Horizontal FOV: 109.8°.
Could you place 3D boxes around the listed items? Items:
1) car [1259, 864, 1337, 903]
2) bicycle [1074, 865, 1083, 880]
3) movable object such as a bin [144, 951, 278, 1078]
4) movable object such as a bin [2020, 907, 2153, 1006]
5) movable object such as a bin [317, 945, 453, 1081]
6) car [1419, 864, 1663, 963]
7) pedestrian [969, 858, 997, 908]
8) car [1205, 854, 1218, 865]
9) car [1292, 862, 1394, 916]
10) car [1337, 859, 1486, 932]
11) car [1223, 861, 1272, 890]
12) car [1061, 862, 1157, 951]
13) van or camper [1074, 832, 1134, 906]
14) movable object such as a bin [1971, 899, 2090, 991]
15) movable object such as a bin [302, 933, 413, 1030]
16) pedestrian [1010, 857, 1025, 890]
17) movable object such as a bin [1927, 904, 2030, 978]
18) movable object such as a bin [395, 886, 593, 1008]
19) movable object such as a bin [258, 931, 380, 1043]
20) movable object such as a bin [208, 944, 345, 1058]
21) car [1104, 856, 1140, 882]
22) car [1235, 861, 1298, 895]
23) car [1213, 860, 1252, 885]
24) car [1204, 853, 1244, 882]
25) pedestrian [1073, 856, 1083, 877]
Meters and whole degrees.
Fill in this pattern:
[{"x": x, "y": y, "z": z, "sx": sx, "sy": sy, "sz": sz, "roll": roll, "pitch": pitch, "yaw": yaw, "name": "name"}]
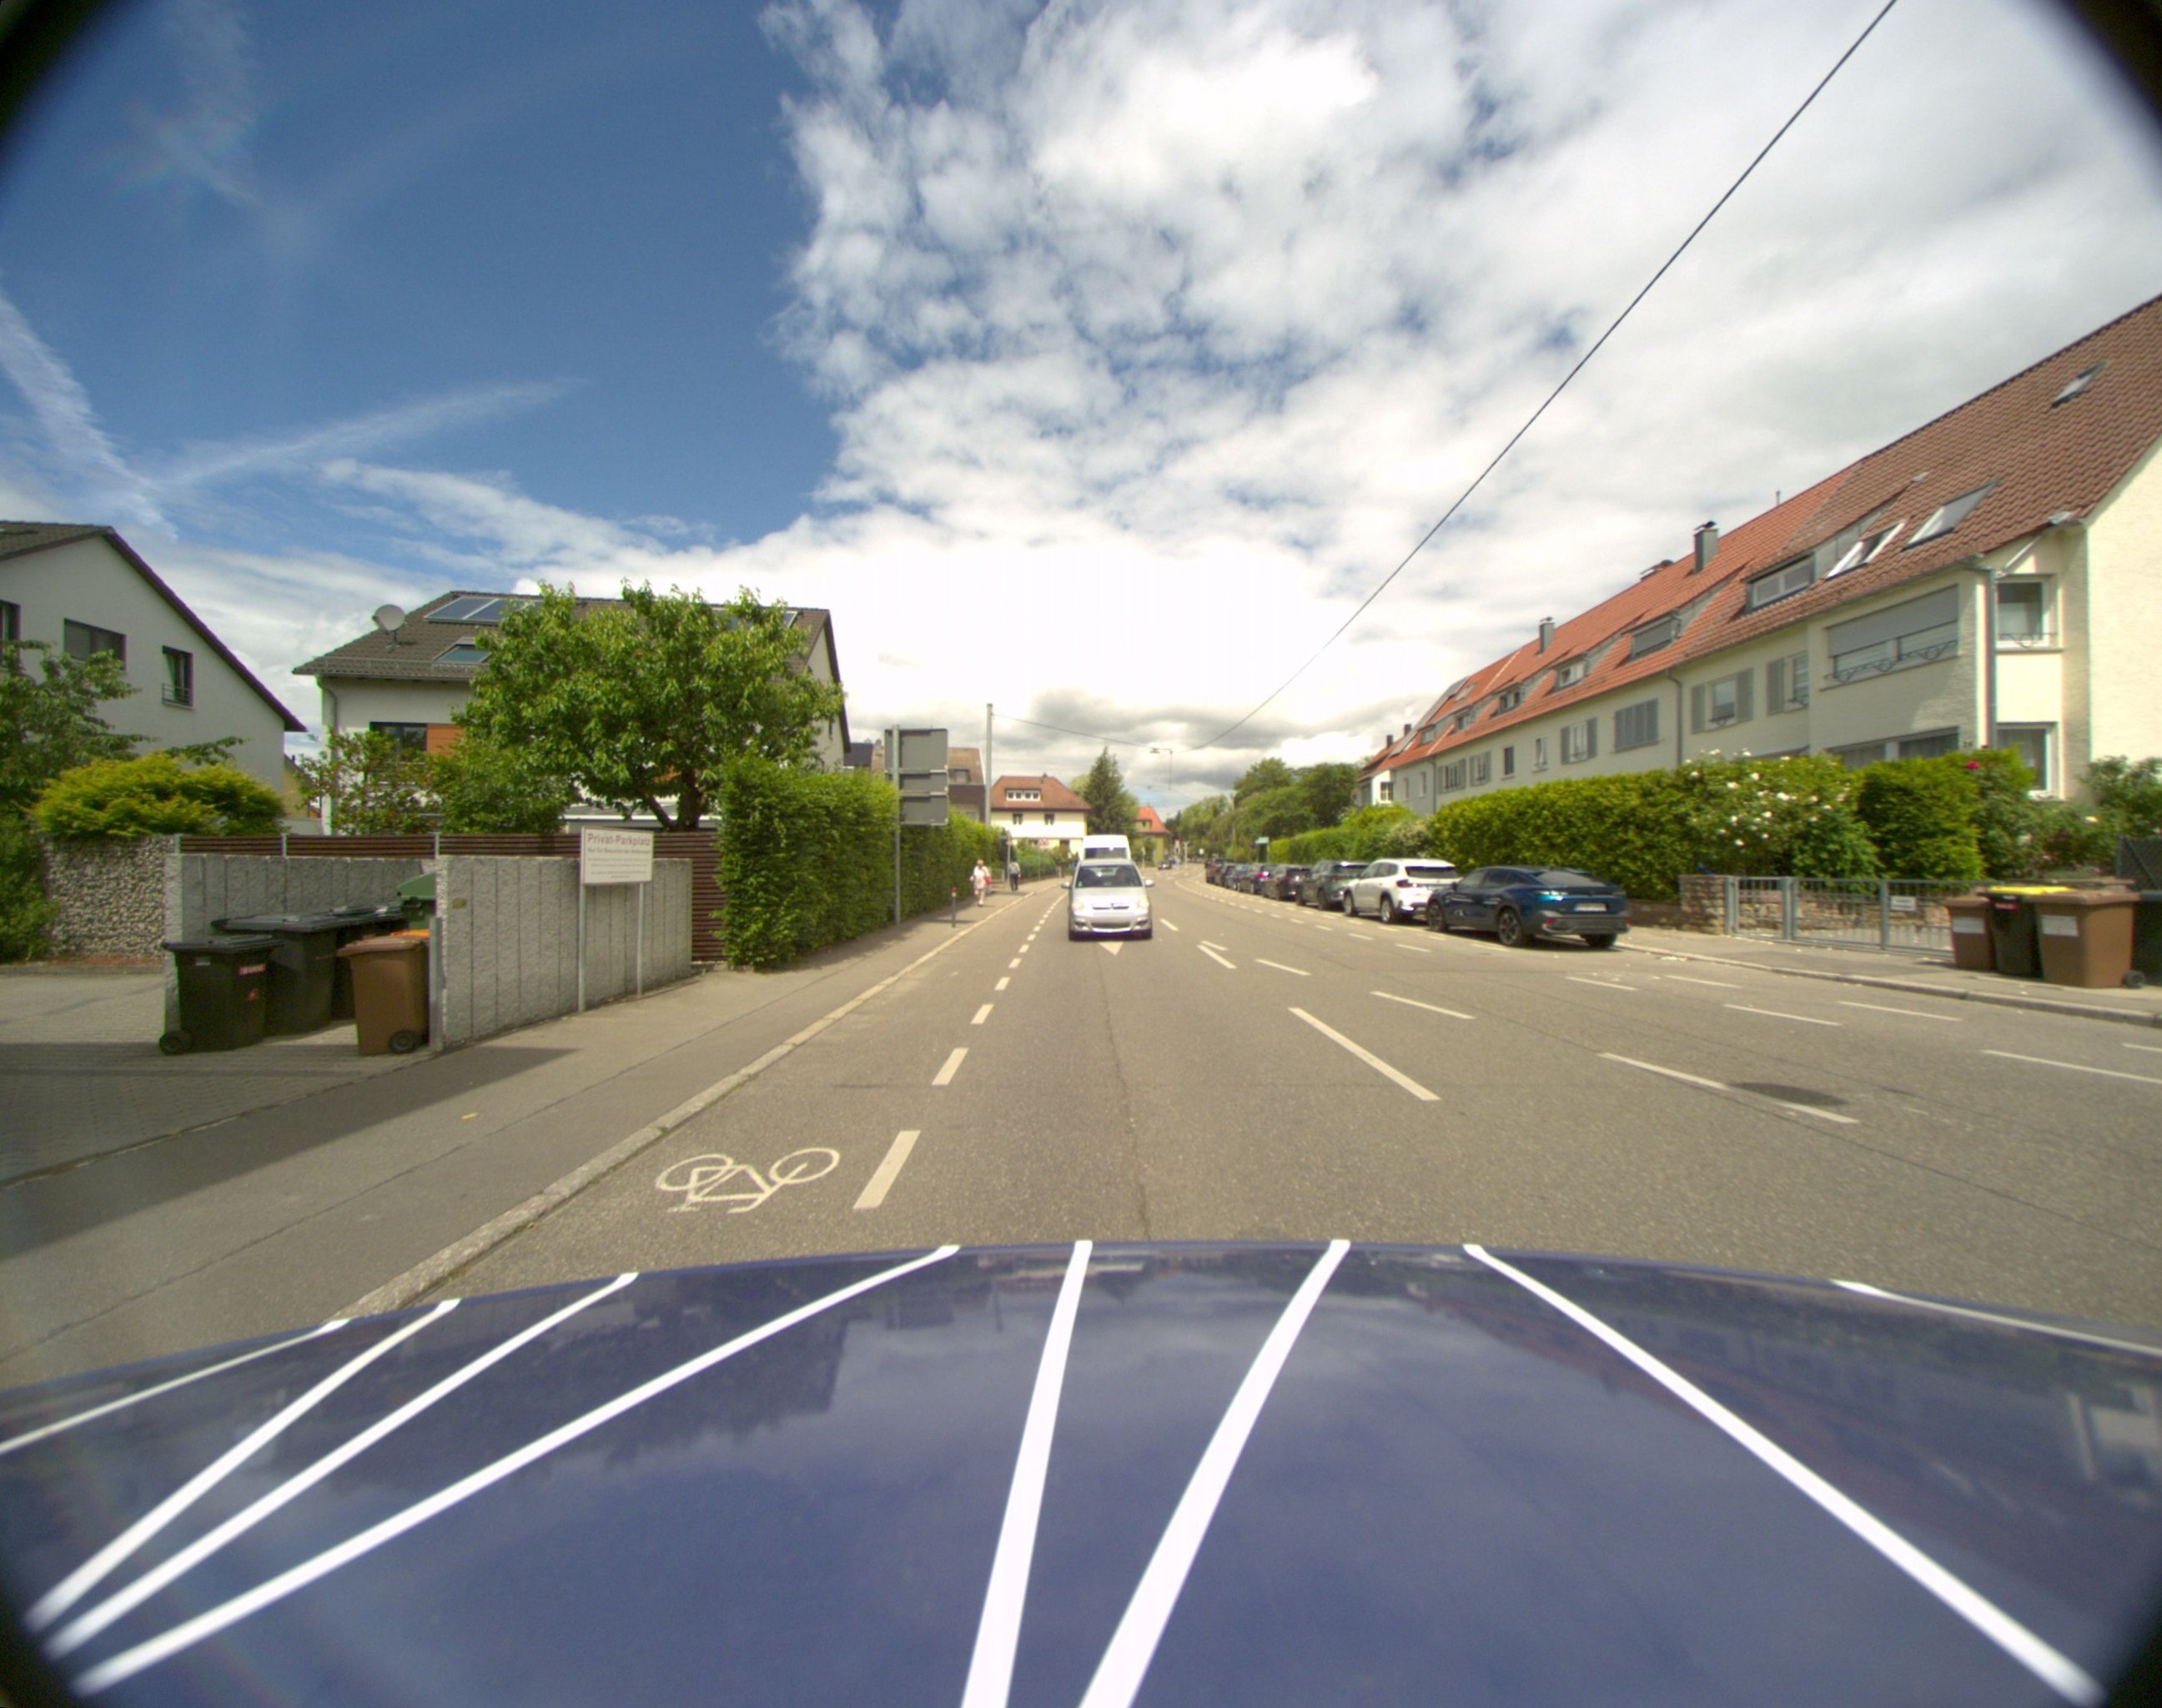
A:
[{"x": 8.625, "y": 1.121, "z": 30.624, "sx": 1.998, "sy": 1.400, "sz": 4.690, "roll": 0, "pitch": 0, "yaw": 3, "name": "car"}, {"x": -0.167, "y": 1.374, "z": 56.878, "sx": 0.536, "sy": 1.039, "sz": 2.409, "roll": -1, "pitch": 0, "yaw": 2, "name": "bicycle"}, {"x": -7.123, "y": 1.291, "z": 6.245, "sx": 0.494, "sy": 0.907, "sz": 0.539, "roll": -1, "pitch": 0, "yaw": -16, "name": "movable object such as a bin"}, {"x": 11.093, "y": 1.111, "z": 8.406, "sx": 0.597, "sy": 1.001, "sz": 0.658, "roll": 0, "pitch": 0, "yaw": 1, "name": "movable object such as a bin"}, {"x": -5.647, "y": 1.263, "z": 6.204, "sx": 0.534, "sy": 0.945, "sz": 0.686, "roll": -1, "pitch": 0, "yaw": -13, "name": "movable object such as a bin"}, {"x": 8.624, "y": 1.012, "z": 14.832, "sx": 1.999, "sy": 1.578, "sz": 4.488, "roll": 0, "pitch": 0, "yaw": -1, "name": "car"}, {"x": -3.258, "y": 0.960, "z": 25.352, "sx": 0.800, "sy": 1.608, "sz": 0.653, "roll": 1, "pitch": 0, "yaw": 2, "name": "pedestrian"}, {"x": 21.936, "y": 0.897, "z": 127.818, "sx": 1.919, "sy": 1.639, "sz": 4.297, "roll": 3, "pitch": 1, "yaw": 11, "name": "car"}, {"x": 8.574, "y": 1.086, "z": 25.342, "sx": 1.998, "sy": 1.555, "sz": 4.690, "roll": 0, "pitch": 0, "yaw": 3, "name": "car"}, {"x": 8.439, "y": 0.983, "z": 19.929, "sx": 1.998, "sy": 1.641, "sz": 4.517, "roll": 0, "pitch": 0, "yaw": 1, "name": "car"}, {"x": 9.009, "y": 1.131, "z": 41.474, "sx": 1.782, "sy": 1.409, "sz": 4.440, "roll": 0, "pitch": 0, "yaw": 1, "name": "car"}, {"x": 0.666, "y": 0.986, "z": 15.950, "sx": 1.707, "sy": 1.531, "sz": 4.332, "roll": -2, "pitch": 0, "yaw": 4, "name": "car"}, {"x": 1.024, "y": 0.595, "z": 30.109, "sx": 2.029, "sy": 2.564, "sz": 5.925, "roll": -2, "pitch": -1, "yaw": 4, "name": "van or camper"}, {"x": 11.314, "y": 1.071, "z": 9.073, "sx": 0.597, "sy": 1.018, "sz": 0.658, "roll": 0, "pitch": 0, "yaw": 1, "name": "movable object such as a bin"}, {"x": -7.471, "y": 1.299, "z": 7.876, "sx": 0.635, "sy": 0.887, "sz": 0.539, "roll": -1, "pitch": 0, "yaw": -16, "name": "movable object such as a bin"}, {"x": -3.132, "y": 0.967, "z": 37.341, "sx": 0.604, "sy": 1.596, "sz": 0.836, "roll": 1, "pitch": 0, "yaw": 2, "name": "pedestrian"}, {"x": 11.472, "y": 1.096, "z": 9.727, "sx": 0.597, "sy": 0.874, "sz": 0.614, "roll": 0, "pitch": 0, "yaw": 1, "name": "movable object such as a bin"}, {"x": -6.978, "y": 1.059, "z": 9.167, "sx": 1.192, "sy": 1.255, "sz": 1.535, "roll": -1, "pitch": 0, "yaw": -2, "name": "movable object such as a bin"}, {"x": -7.333, "y": 1.259, "z": 7.342, "sx": 0.629, "sy": 0.962, "sz": 0.539, "roll": -1, "pitch": 0, "yaw": -16, "name": "movable object such as a bin"}, {"x": -7.181, "y": 1.292, "z": 6.810, "sx": 0.635, "sy": 0.887, "sz": 0.539, "roll": -1, "pitch": 0, "yaw": -16, "name": "movable object such as a bin"}, {"x": 3.002, "y": 1.034, "z": 54.823, "sx": 1.931, "sy": 1.771, "sz": 4.003, "roll": -2, "pitch": 0, "yaw": 11, "name": "car"}, {"x": 8.736, "y": 1.103, "z": 36.140, "sx": 1.782, "sy": 1.483, "sz": 4.565, "roll": 0, "pitch": 0, "yaw": -2, "name": "car"}, {"x": 9.306, "y": 1.097, "z": 46.927, "sx": 1.782, "sy": 1.409, "sz": 4.340, "roll": 0, "pitch": 0, "yaw": 3, "name": "car"}, {"x": 9.730, "y": 0.881, "z": 52.231, "sx": 1.998, "sy": 1.884, "sz": 5.405, "roll": 2, "pitch": 0, "yaw": 4, "name": "car"}, {"x": -0.216, "y": 0.912, "z": 56.843, "sx": 0.736, "sy": 1.508, "sz": 0.872, "roll": -1, "pitch": 0, "yaw": 0, "name": "pedestrian"}]
